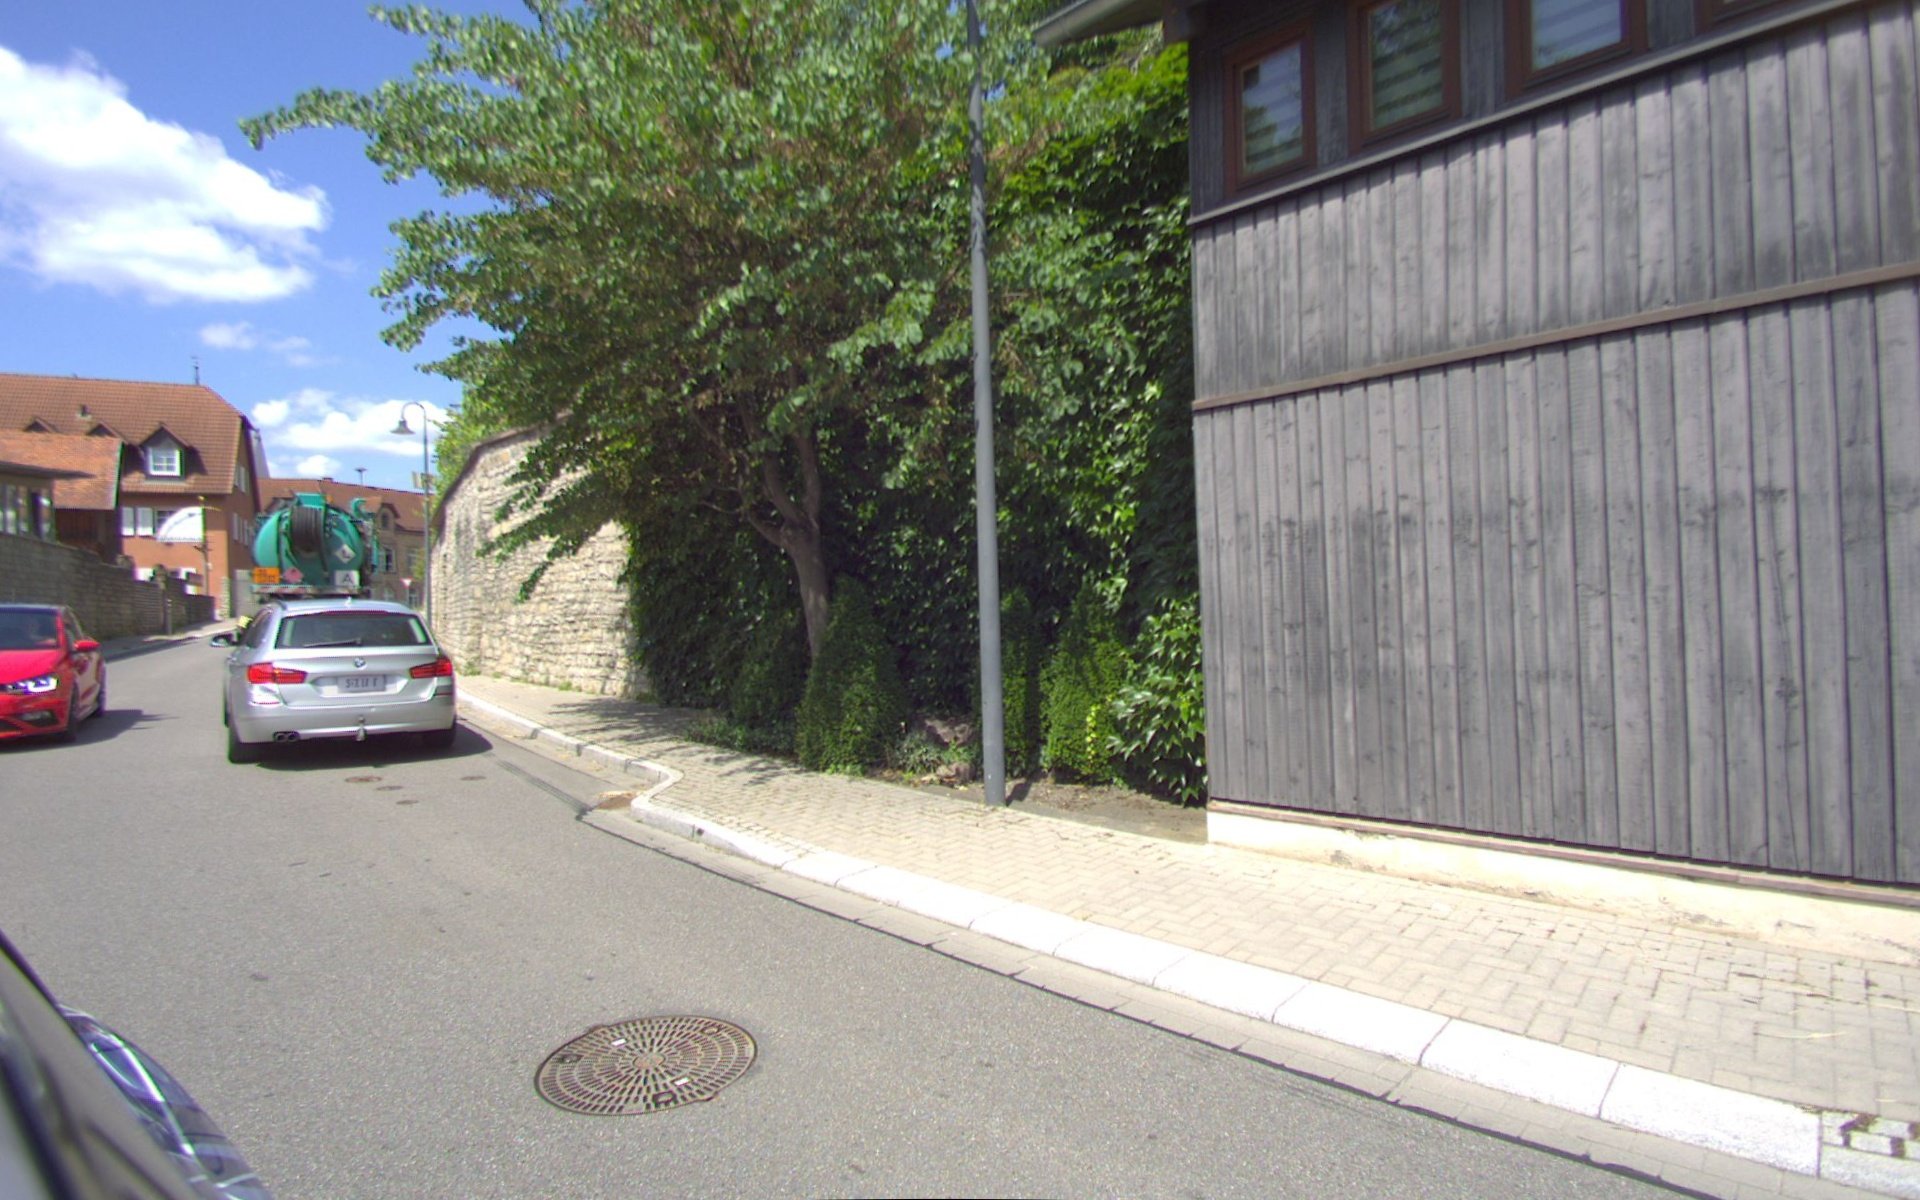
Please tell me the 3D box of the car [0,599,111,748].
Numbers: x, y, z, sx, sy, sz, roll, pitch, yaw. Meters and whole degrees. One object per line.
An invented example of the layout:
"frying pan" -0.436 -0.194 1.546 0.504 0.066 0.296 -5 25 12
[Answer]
"car" -10.119 0.689 10.513 1.643 1.362 3.503 0 0 -34

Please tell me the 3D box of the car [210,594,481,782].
"car" -6.578 0.739 10.552 1.871 1.512 4.623 0 -1 -38

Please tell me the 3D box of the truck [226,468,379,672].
"truck" -14.637 -0.560 23.044 2.378 3.685 9.597 0 0 -30
